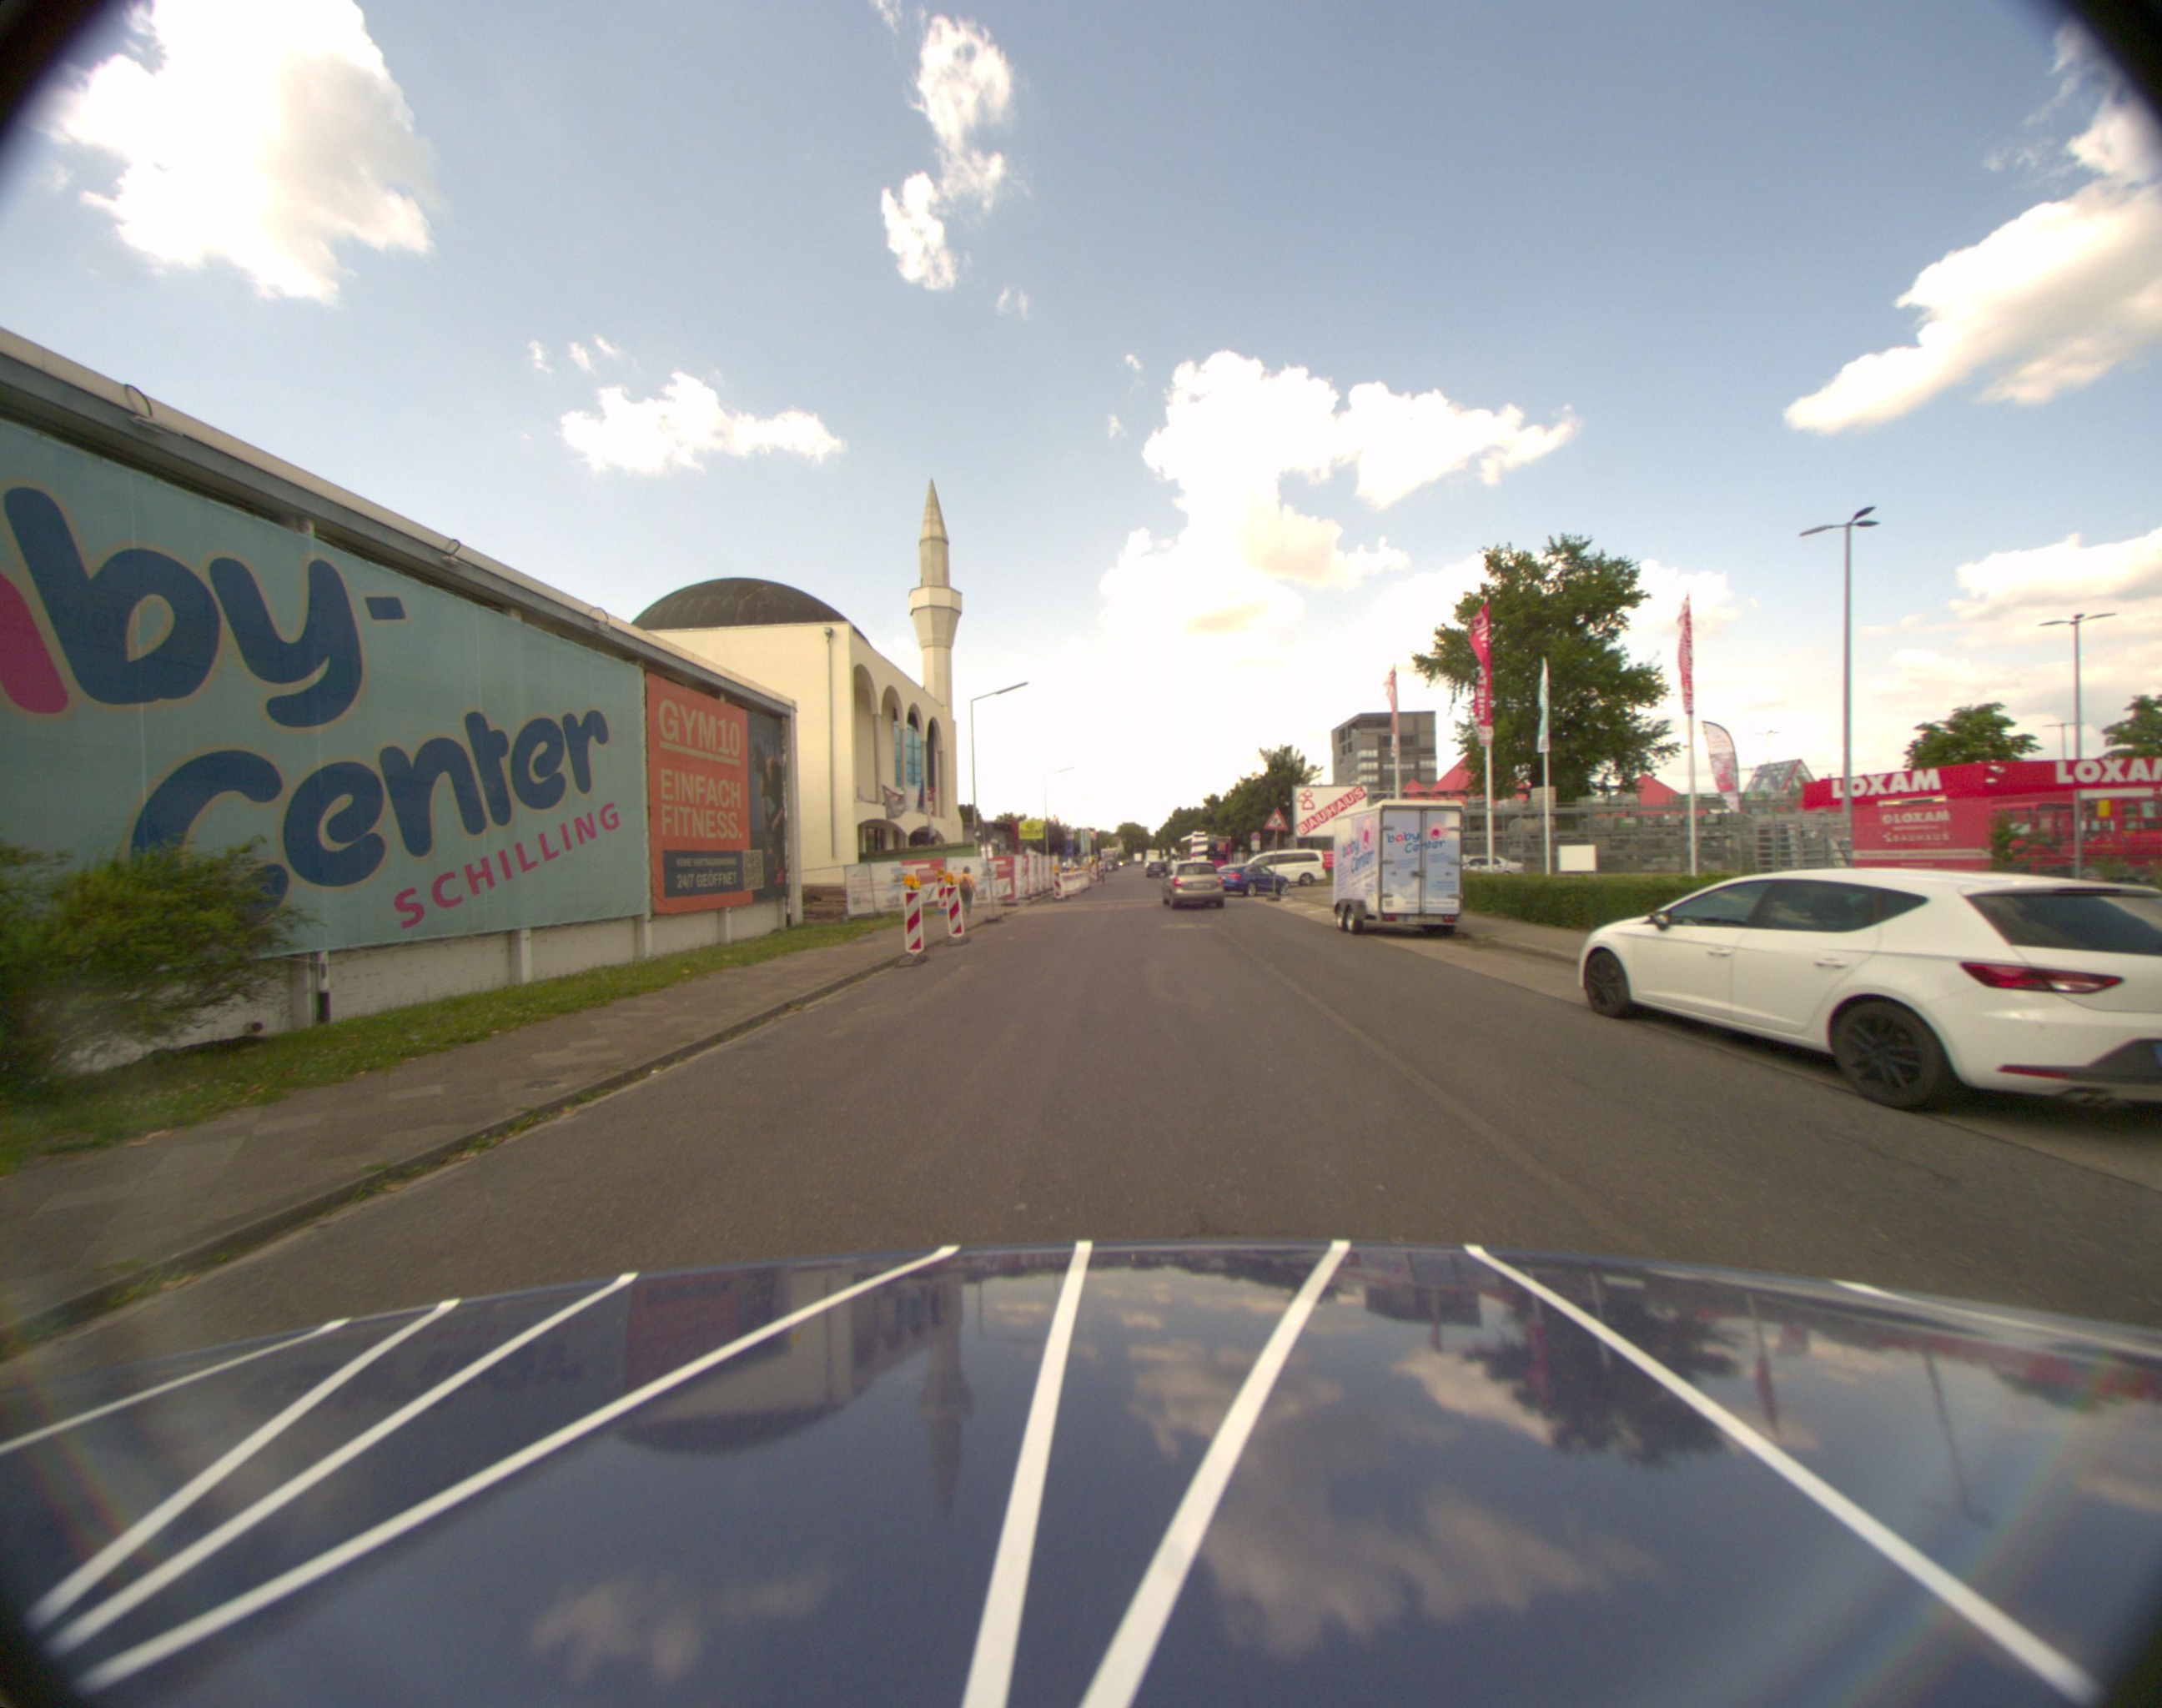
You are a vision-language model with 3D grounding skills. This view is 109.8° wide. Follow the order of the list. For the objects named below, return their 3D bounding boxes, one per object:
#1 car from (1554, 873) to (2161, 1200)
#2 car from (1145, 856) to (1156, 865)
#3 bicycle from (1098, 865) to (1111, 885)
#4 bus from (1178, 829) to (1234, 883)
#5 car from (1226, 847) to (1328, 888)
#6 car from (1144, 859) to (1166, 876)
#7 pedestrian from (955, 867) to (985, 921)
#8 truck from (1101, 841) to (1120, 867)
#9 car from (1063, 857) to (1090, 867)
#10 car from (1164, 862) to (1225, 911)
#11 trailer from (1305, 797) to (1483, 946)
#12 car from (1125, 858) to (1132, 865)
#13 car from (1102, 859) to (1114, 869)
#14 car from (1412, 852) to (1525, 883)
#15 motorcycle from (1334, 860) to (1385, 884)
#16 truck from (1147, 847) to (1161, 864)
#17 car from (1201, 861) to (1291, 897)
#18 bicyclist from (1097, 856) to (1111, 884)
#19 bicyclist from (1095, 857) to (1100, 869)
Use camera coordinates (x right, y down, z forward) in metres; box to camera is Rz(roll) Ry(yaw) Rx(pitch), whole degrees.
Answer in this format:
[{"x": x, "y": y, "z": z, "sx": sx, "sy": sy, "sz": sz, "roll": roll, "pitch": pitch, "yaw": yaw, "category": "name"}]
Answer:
[{"x": 5.705, "y": 0.940, "z": 5.732, "sx": 1.769, "sy": 1.470, "sz": 4.236, "roll": 1, "pitch": 0, "yaw": 3, "category": "car"}, {"x": 11.259, "y": 1.009, "z": 122.866, "sx": 1.687, "sy": 1.461, "sz": 3.613, "roll": 0, "pitch": 0, "yaw": 3, "category": "car"}, {"x": 1.594, "y": 1.400, "z": 51.082, "sx": 0.800, "sy": 1.173, "sz": 2.627, "roll": -3, "pitch": 0, "yaw": 3, "category": "bicycle"}, {"x": 8.933, "y": 0.141, "z": 55.837, "sx": 2.669, "sy": 3.403, "sz": 13.222, "roll": 2, "pitch": 0, "yaw": 4, "category": "bus"}, {"x": 10.172, "y": 0.705, "z": 39.812, "sx": 5.009, "sy": 1.938, "sz": 1.994, "roll": -2, "pitch": 0, "yaw": 9, "category": "car"}, {"x": 6.595, "y": 1.225, "z": 68.179, "sx": 1.800, "sy": 1.450, "sz": 4.386, "roll": 0, "pitch": 0, "yaw": 3, "category": "car"}, {"x": -3.310, "y": 1.186, "z": 22.685, "sx": 0.683, "sy": 1.525, "sz": 1.130, "roll": -2, "pitch": 1, "yaw": 0, "category": "pedestrian"}, {"x": 5.065, "y": 0.010, "z": 129.167, "sx": 2.784, "sy": 4.092, "sz": 8.281, "roll": -4, "pitch": 0, "yaw": 4, "category": "truck"}, {"x": -0.816, "y": 1.455, "z": 142.123, "sx": 4.904, "sy": 1.777, "sz": 1.903, "roll": -1, "pitch": 0, "yaw": 3, "category": "car"}, {"x": 3.639, "y": 0.998, "z": 24.856, "sx": 1.594, "sy": 1.456, "sz": 3.762, "roll": 0, "pitch": 0, "yaw": 3, "category": "car"}, {"x": 6.537, "y": 0.336, "z": 16.550, "sx": 2.144, "sy": 2.767, "sz": 4.704, "roll": 1, "pitch": 0, "yaw": 3, "category": "trailer"}, {"x": 12.742, "y": 2.044, "z": 203.155, "sx": 1.796, "sy": 1.881, "sz": 4.001, "roll": -2, "pitch": 0, "yaw": 3, "category": "car"}, {"x": 4.158, "y": 1.540, "z": 115.282, "sx": 1.665, "sy": 1.332, "sz": 3.986, "roll": -5, "pitch": -1, "yaw": 3, "category": "car"}, {"x": 19.714, "y": 0.678, "z": 38.810, "sx": 4.694, "sy": 1.445, "sz": 1.955, "roll": -2, "pitch": 0, "yaw": 5, "category": "car"}, {"x": 14.261, "y": 0.918, "z": 38.932, "sx": 2.226, "sy": 1.206, "sz": 0.995, "roll": -1, "pitch": 0, "yaw": 4, "category": "motorcycle"}, {"x": 16.079, "y": 0.351, "z": 167.714, "sx": 2.754, "sy": 3.701, "sz": 7.173, "roll": 0, "pitch": 0, "yaw": 3, "category": "truck"}, {"x": 7.176, "y": 1.046, "z": 32.759, "sx": 1.924, "sy": 1.369, "sz": 4.388, "roll": -2, "pitch": 0, "yaw": 41, "category": "car"}, {"x": 1.570, "y": 1.046, "z": 51.046, "sx": 0.808, "sy": 1.782, "sz": 1.207, "roll": -4, "pitch": 0, "yaw": 3, "category": "bicyclist"}, {"x": 2.572, "y": 1.363, "z": 118.644, "sx": 0.796, "sy": 1.899, "sz": 0.829, "roll": 2, "pitch": 1, "yaw": 6, "category": "bicyclist"}]
